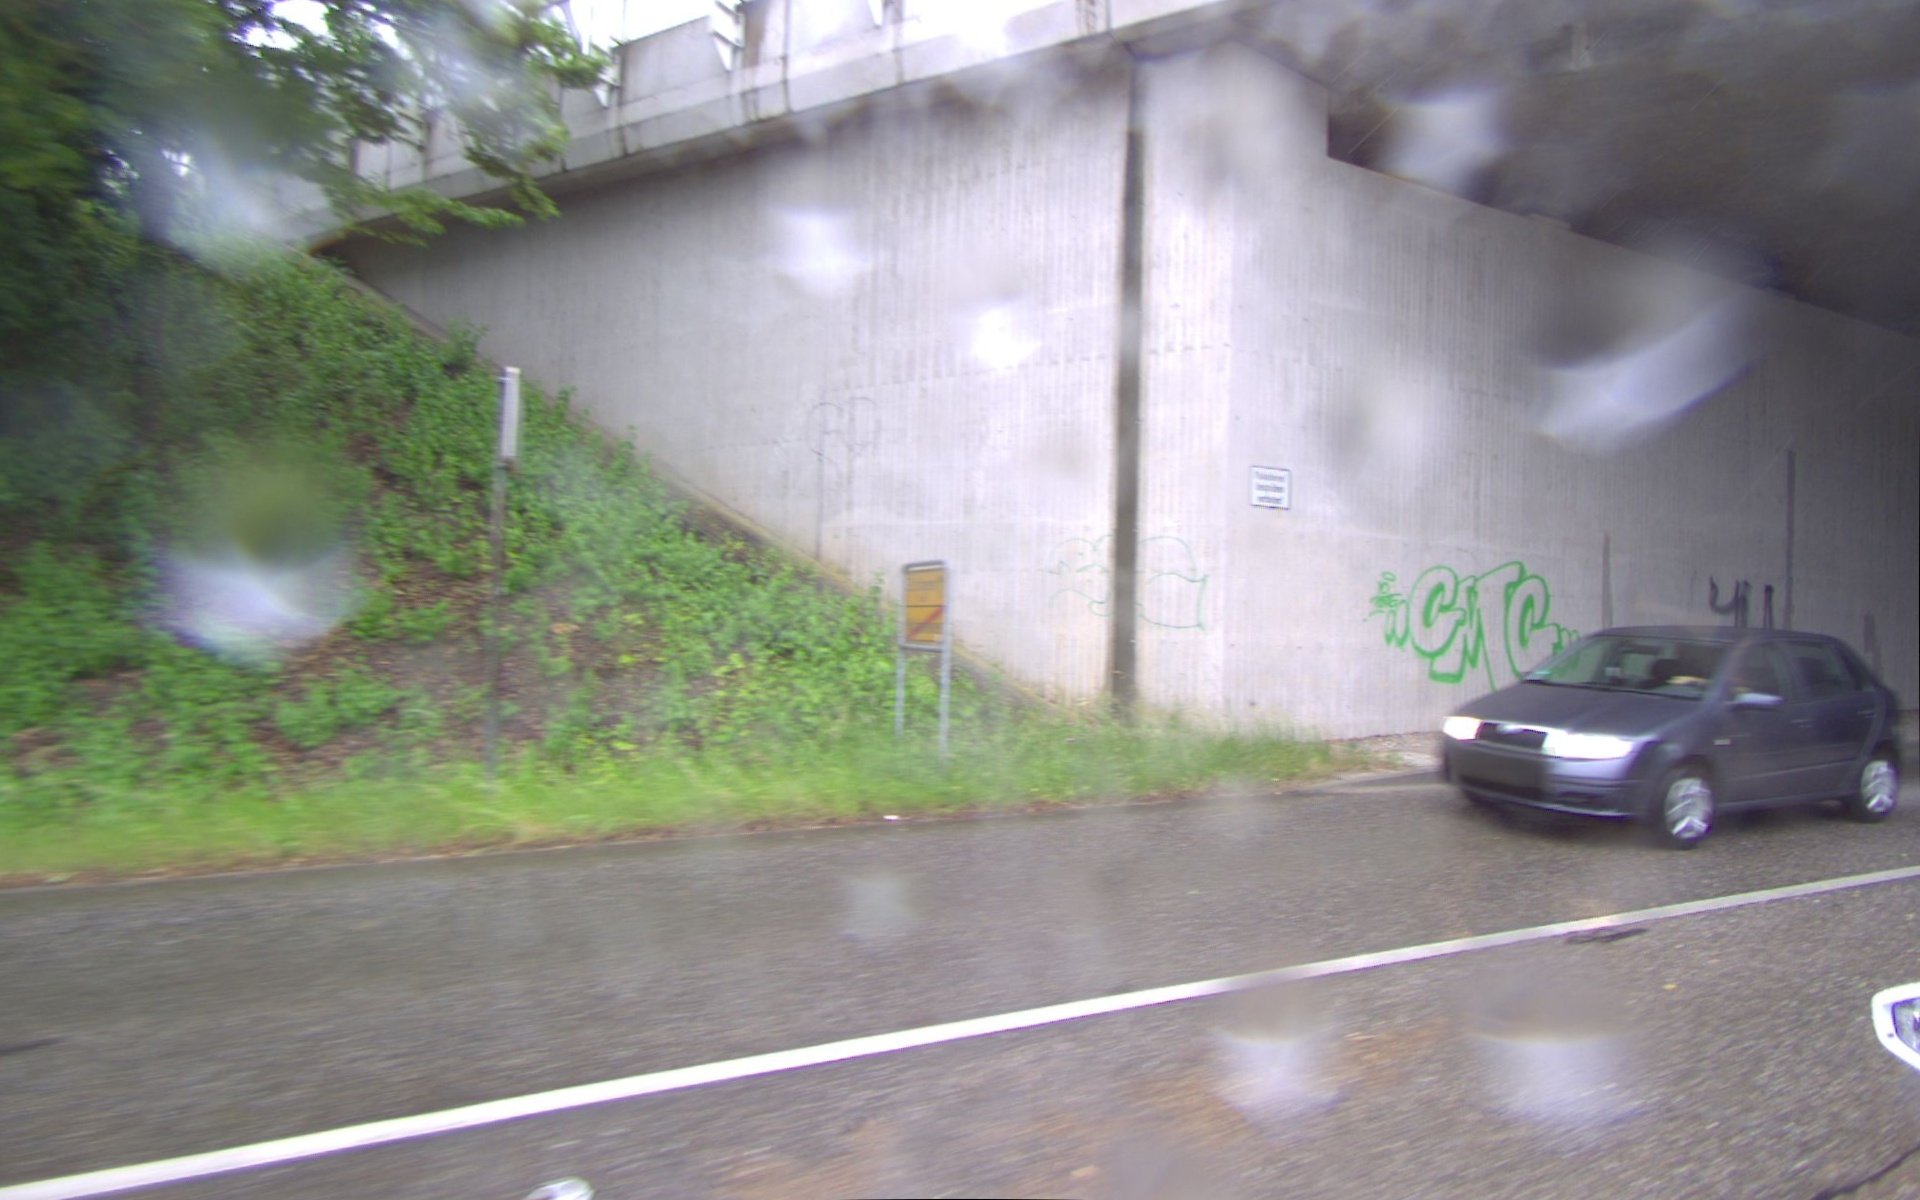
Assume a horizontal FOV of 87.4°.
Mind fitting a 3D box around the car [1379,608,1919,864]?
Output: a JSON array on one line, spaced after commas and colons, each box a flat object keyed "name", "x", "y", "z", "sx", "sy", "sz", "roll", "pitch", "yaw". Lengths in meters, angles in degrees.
[{"name": "car", "x": 5.313, "y": 0.866, "z": 7.616, "sx": 4.018, "sy": 1.507, "sz": 1.685, "roll": 1, "pitch": 0, "yaw": -25}]
